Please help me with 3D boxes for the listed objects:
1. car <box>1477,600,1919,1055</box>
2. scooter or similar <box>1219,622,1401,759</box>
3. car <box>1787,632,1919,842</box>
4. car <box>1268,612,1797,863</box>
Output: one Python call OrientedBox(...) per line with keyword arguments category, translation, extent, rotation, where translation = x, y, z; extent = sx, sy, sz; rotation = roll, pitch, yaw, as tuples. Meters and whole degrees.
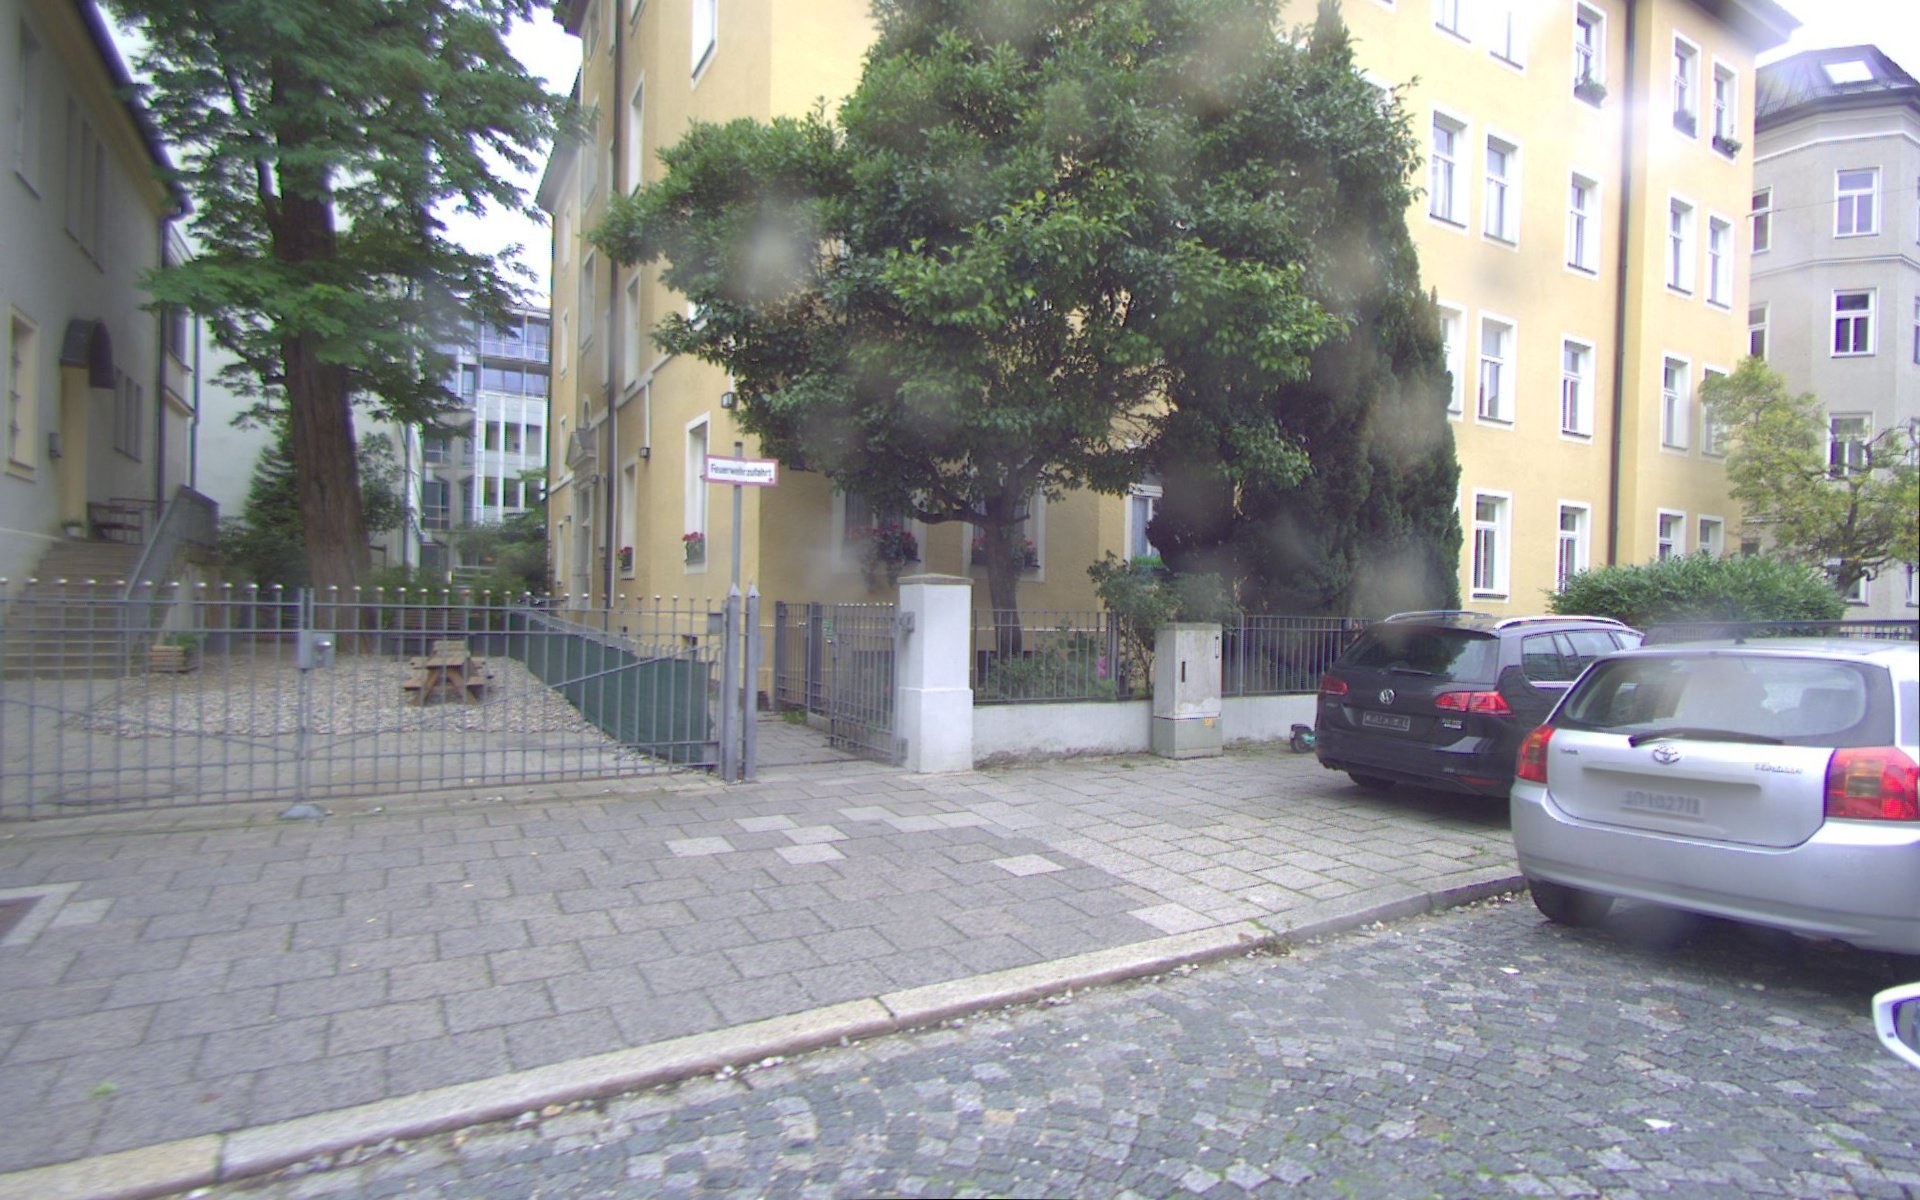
OrientedBox(category="car", translation=(4.821, 0.859, 5.298), extent=(4.340, 1.582, 1.705), rotation=(1, -2, -31))
OrientedBox(category="scooter or similar", translation=(3.534, 0.868, 10.164), extent=(1.504, 1.216, 0.951), rotation=(1, 2, -30))
OrientedBox(category="car", translation=(8.301, 0.976, 7.775), extent=(3.891, 1.437, 1.721), rotation=(1, -2, -31))
OrientedBox(category="car", translation=(4.881, 0.940, 8.355), extent=(4.667, 1.517, 1.706), rotation=(1, 2, -31))
